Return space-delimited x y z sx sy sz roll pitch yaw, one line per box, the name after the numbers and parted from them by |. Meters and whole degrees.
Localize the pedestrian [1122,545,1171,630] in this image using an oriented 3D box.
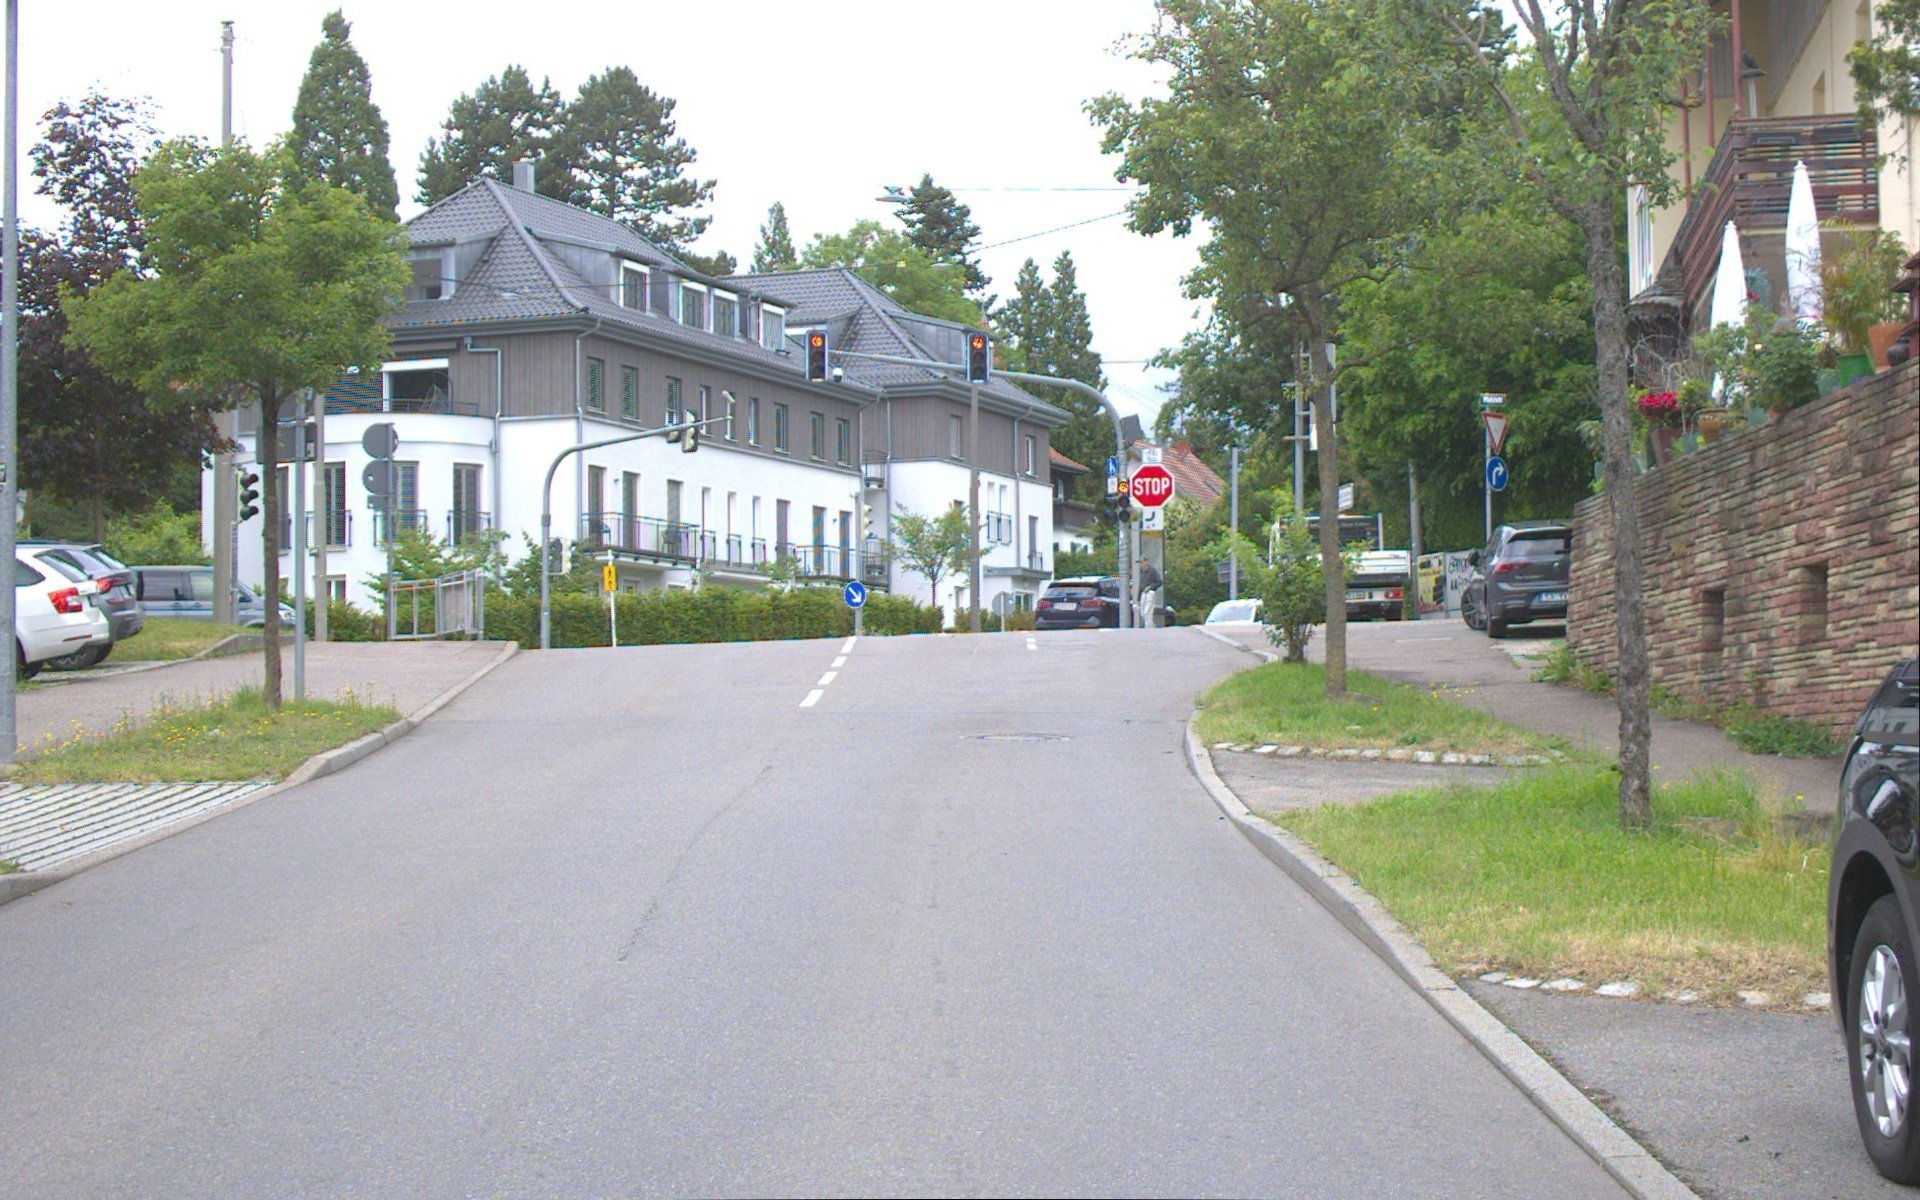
3.681 -0.252 67.935 0.698 1.676 0.686 -1 1 -24 | pedestrian

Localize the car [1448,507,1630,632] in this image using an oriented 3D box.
7.582 -0.409 45.392 1.848 1.467 4.385 -3 1 4 | car

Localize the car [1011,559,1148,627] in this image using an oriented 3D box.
2.826 -0.184 80.076 2.156 1.486 4.709 0 1 15 | car

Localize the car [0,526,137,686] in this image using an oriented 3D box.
-11.053 0.110 36.300 4.259 1.618 2.014 -2 0 -3 | car

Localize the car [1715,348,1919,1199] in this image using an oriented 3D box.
2.956 0.402 6.289 1.936 1.831 5.219 -1 1 -1 | car

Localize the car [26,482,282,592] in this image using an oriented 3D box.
-15.291 -1.199 65.187 4.493 2.007 2.001 -1 1 -20 | car

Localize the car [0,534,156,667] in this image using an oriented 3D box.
-11.474 0.022 40.313 3.759 1.459 1.732 -2 2 -6 | car

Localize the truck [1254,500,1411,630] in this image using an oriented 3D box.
6.969 -0.614 64.983 2.183 2.187 5.881 0 -2 -1 | truck
